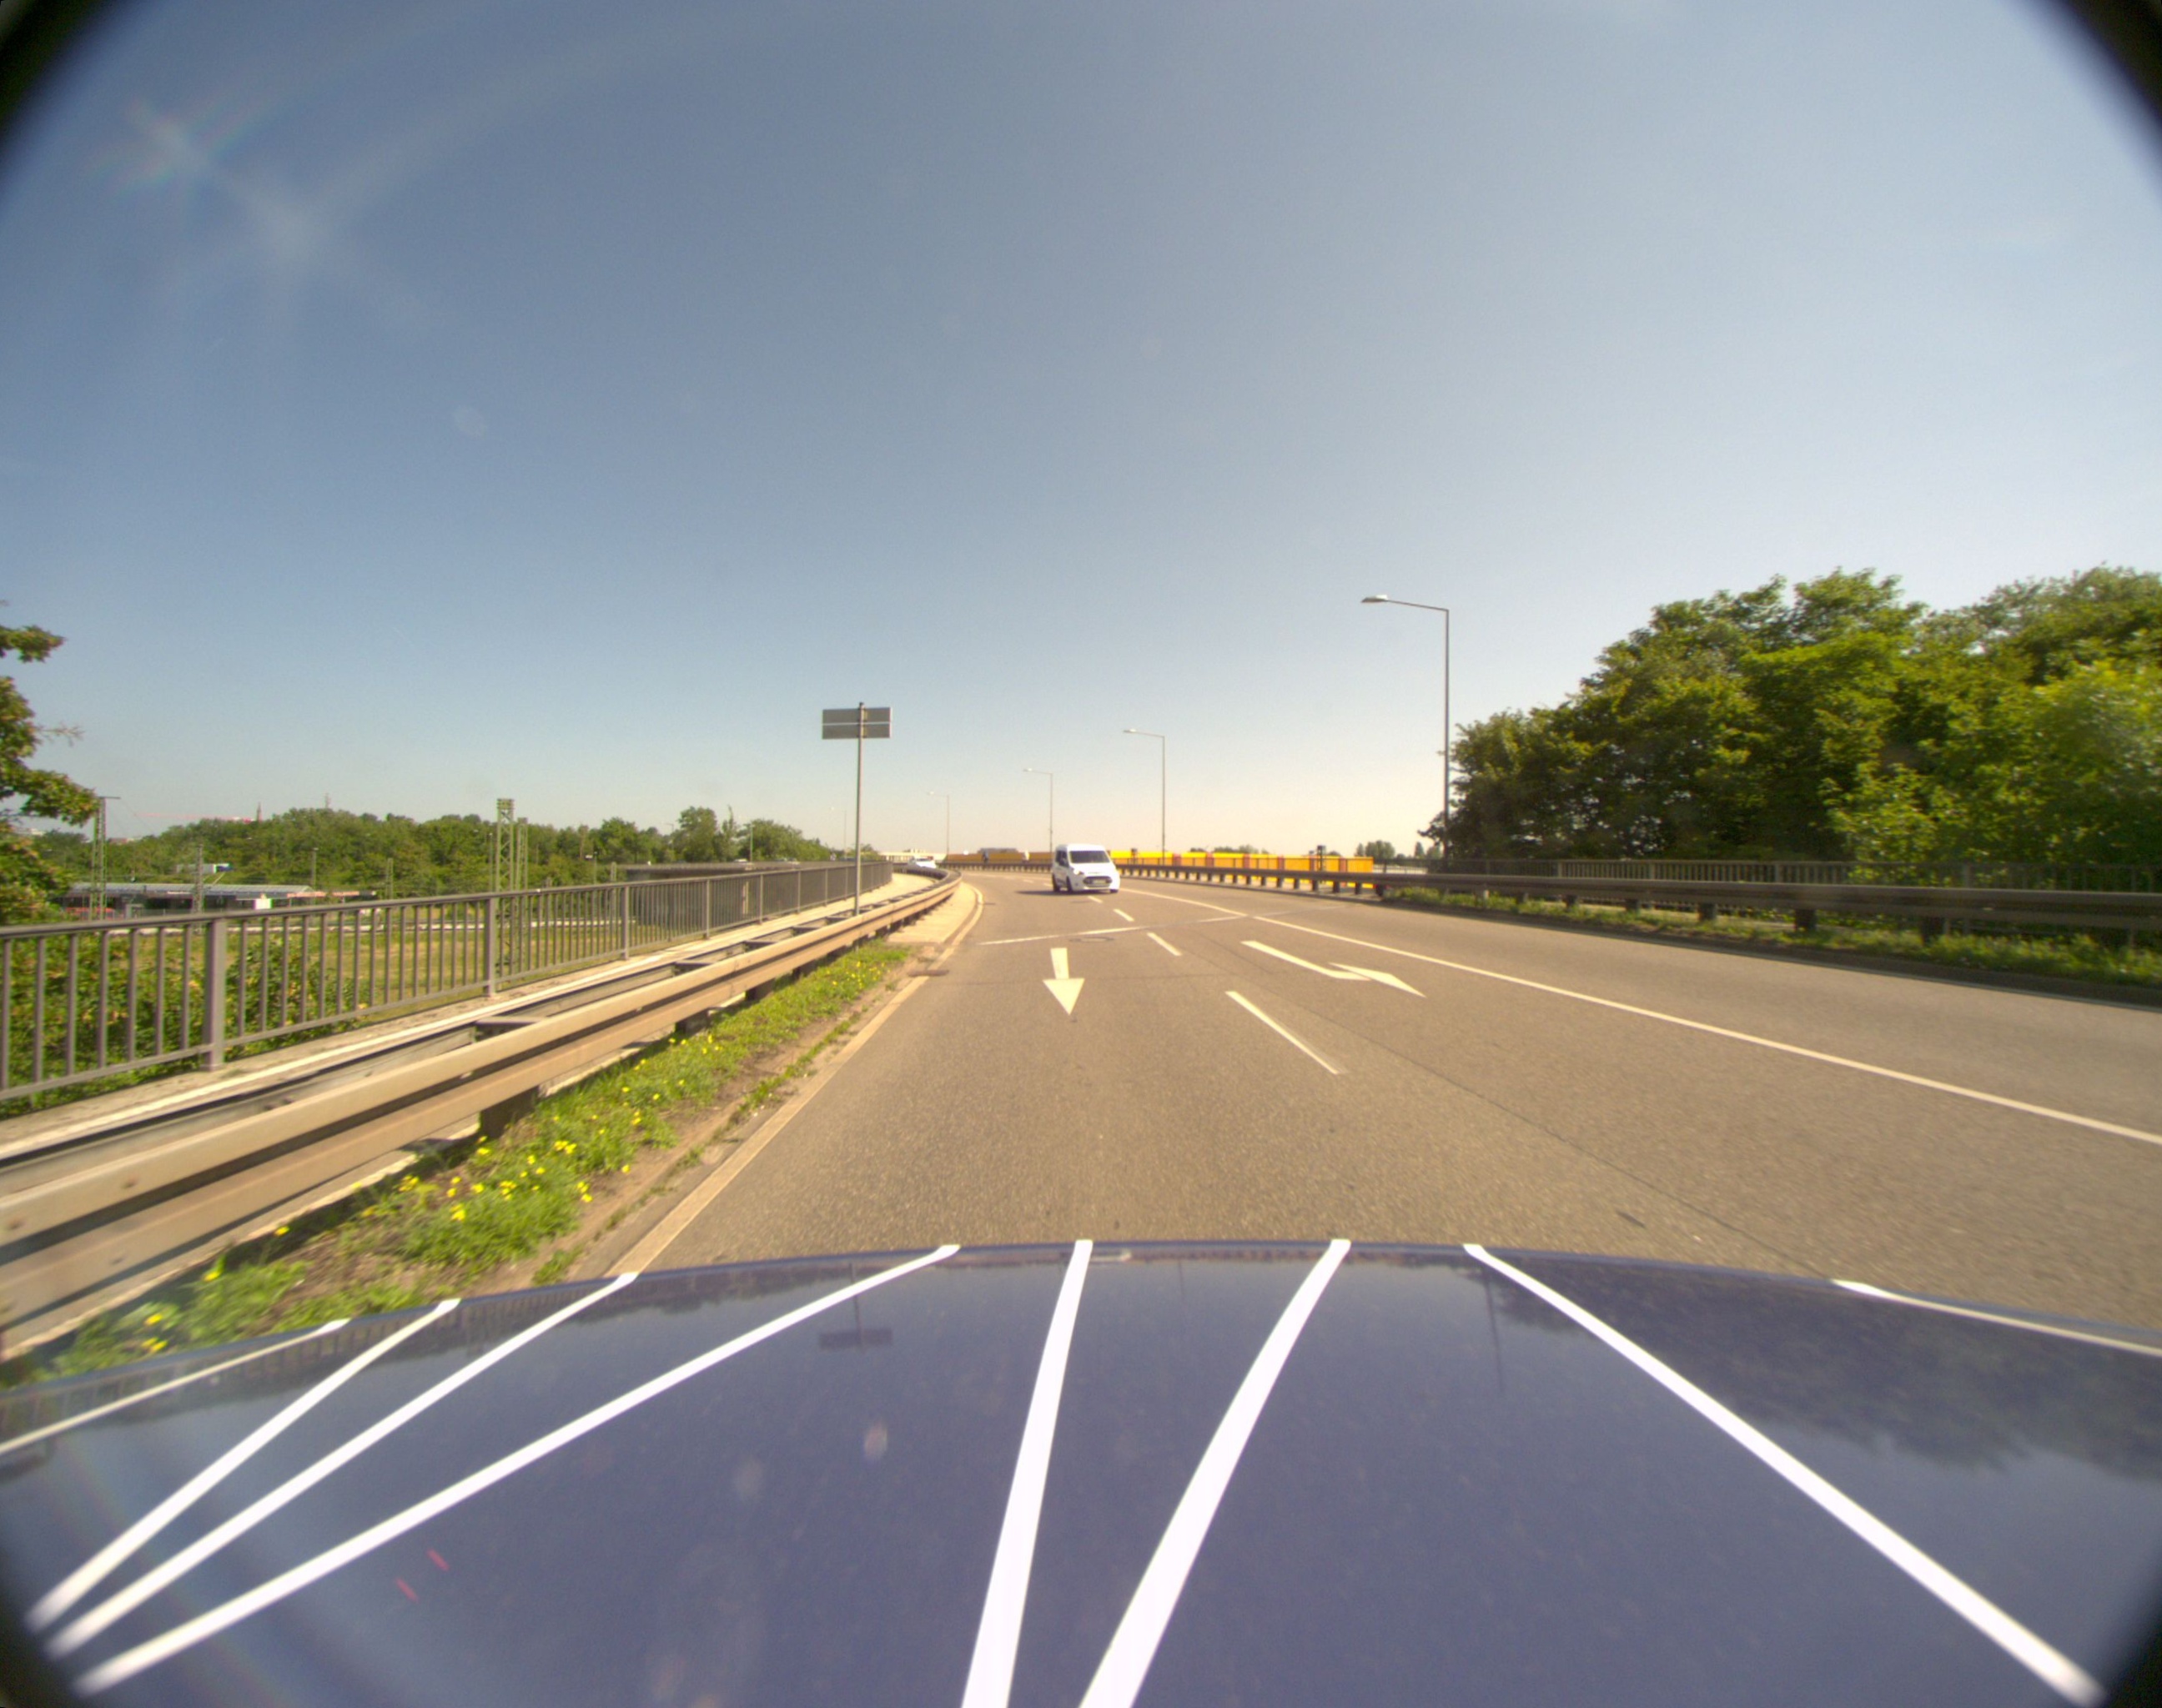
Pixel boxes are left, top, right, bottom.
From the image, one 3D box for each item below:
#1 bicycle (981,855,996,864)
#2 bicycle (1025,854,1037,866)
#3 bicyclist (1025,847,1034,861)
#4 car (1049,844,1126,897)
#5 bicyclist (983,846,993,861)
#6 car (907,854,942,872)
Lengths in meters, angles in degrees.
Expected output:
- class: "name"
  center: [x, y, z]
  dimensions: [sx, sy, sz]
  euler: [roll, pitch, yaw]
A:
- class: "bicycle"
  center: [-9.348, 0.541, 76.641]
  dimensions: [0.932, 0.886, 1.963]
  euler: [-1, 0, -24]
- class: "bicycle"
  center: [-4.481, 0.520, 68.386]
  dimensions: [0.576, 1.040, 1.707]
  euler: [0, -1, -21]
- class: "bicyclist"
  center: [-4.663, -0.003, 68.726]
  dimensions: [0.490, 1.321, 0.944]
  euler: [-2, 2, -22]
- class: "car"
  center: [0.144, 0.566, 28.345]
  dimensions: [1.899, 1.785, 4.442]
  euler: [-2, 0, -12]
- class: "bicyclist"
  center: [-9.407, -0.039, 76.672]
  dimensions: [0.663, 1.487, 1.014]
  euler: [-2, 0, -24]
- class: "car"
  center: [-14.202, 0.814, 68.860]
  dimensions: [1.850, 1.480, 4.142]
  euler: [-2, 0, -30]
